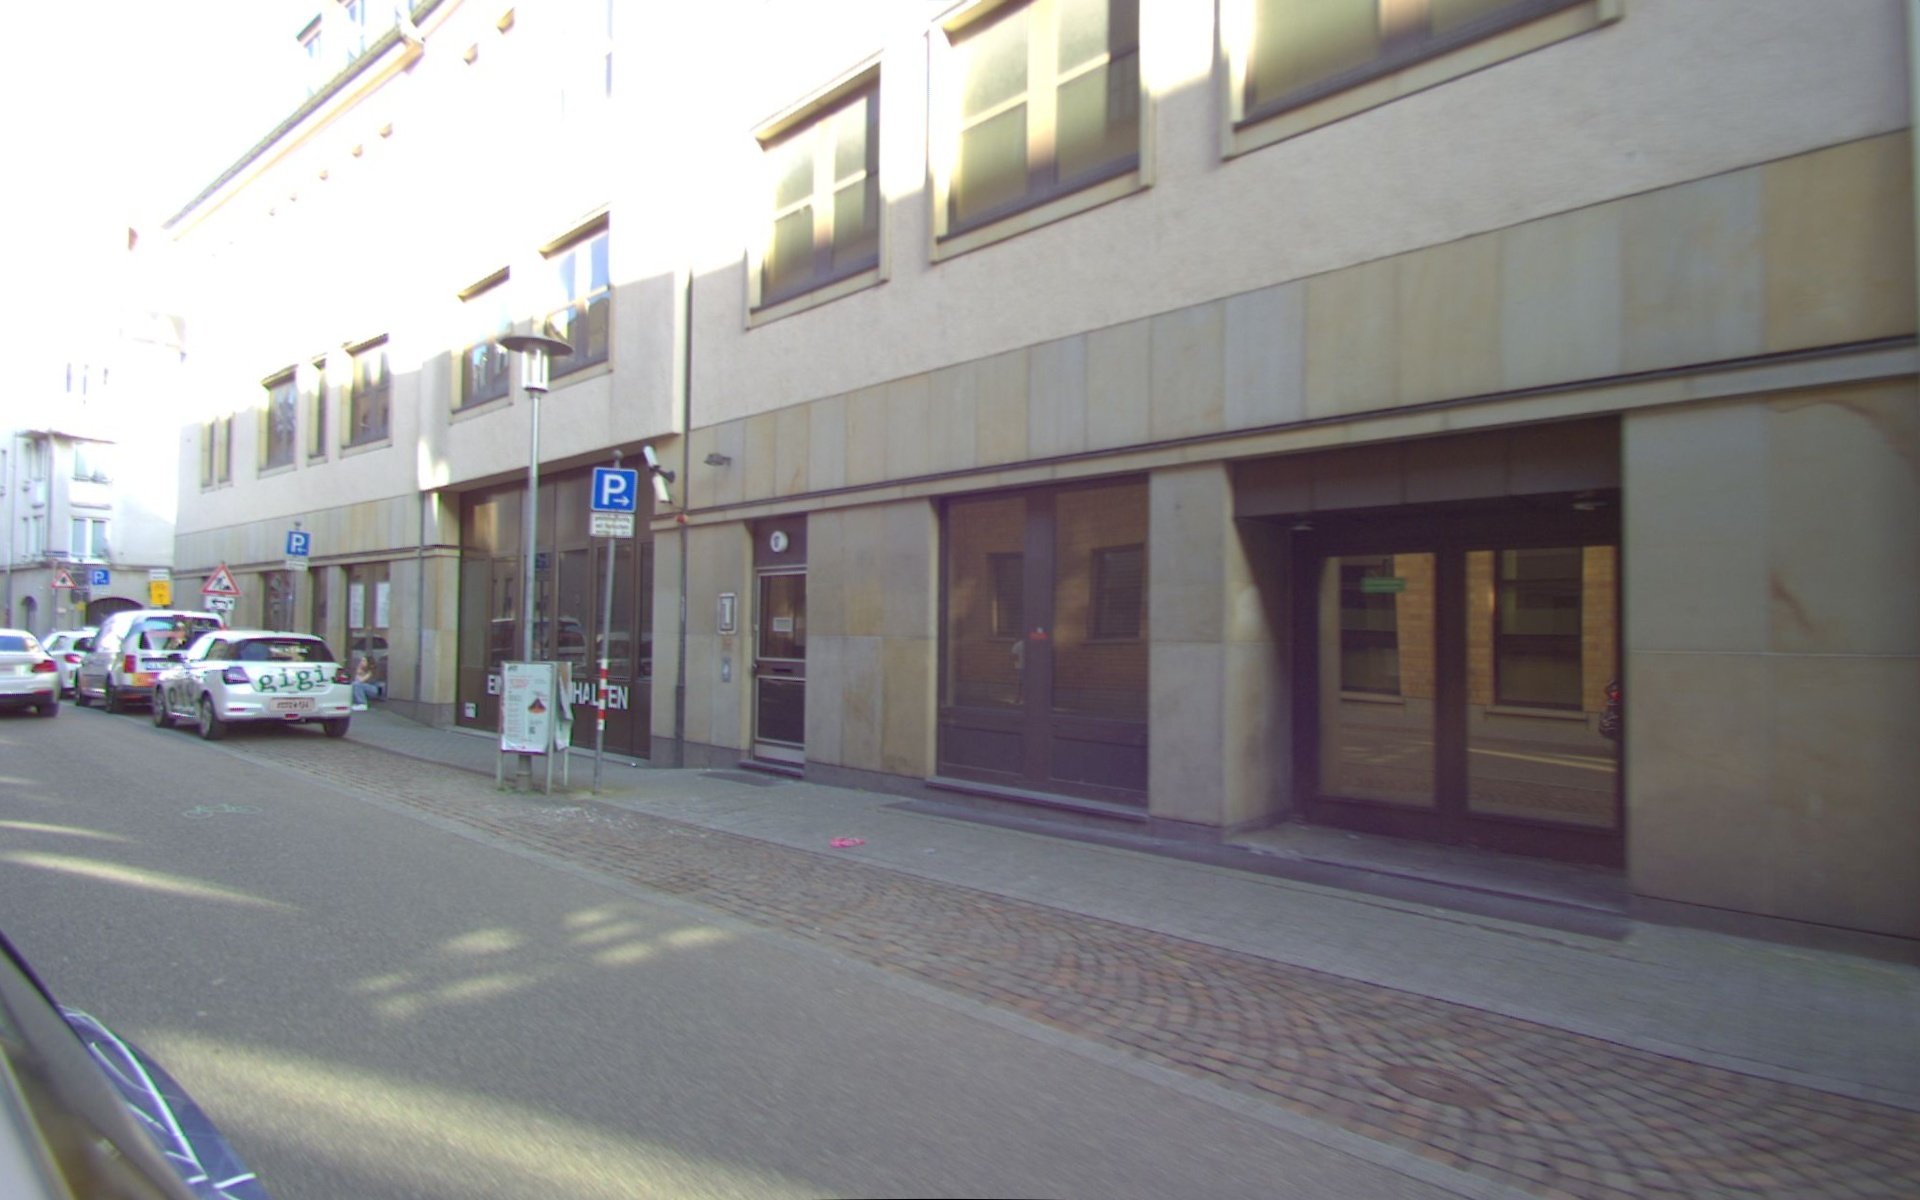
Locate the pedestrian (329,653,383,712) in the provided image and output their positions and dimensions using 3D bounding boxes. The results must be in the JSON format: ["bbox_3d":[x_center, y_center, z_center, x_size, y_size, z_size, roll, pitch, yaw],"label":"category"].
[{"bbox_3d":[-11.195,1.518,18.756,0.616,1.043,0.649,-1,-2,36],"label":"pedestrian"}]

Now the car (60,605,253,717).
[{"bbox_3d":[-15.258,1.111,19.135,4.730,1.872,1.880,-1,-4,40],"label":"car"}]

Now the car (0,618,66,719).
[{"bbox_3d":[-16.309,1.075,16.645,4.155,1.529,1.697,-1,-3,39],"label":"car"}]

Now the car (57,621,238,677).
[{"bbox_3d":[-24.437,1.433,30.555,1.761,1.558,3.949,-1,-2,38],"label":"car"}]

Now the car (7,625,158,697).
[{"bbox_3d":[-19.899,1.353,22.920,3.792,1.504,1.721,-1,-4,36],"label":"car"}]

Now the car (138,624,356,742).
[{"bbox_3d":[-10.649,1.169,15.038,3.772,1.534,1.653,-1,-5,40],"label":"car"}]
